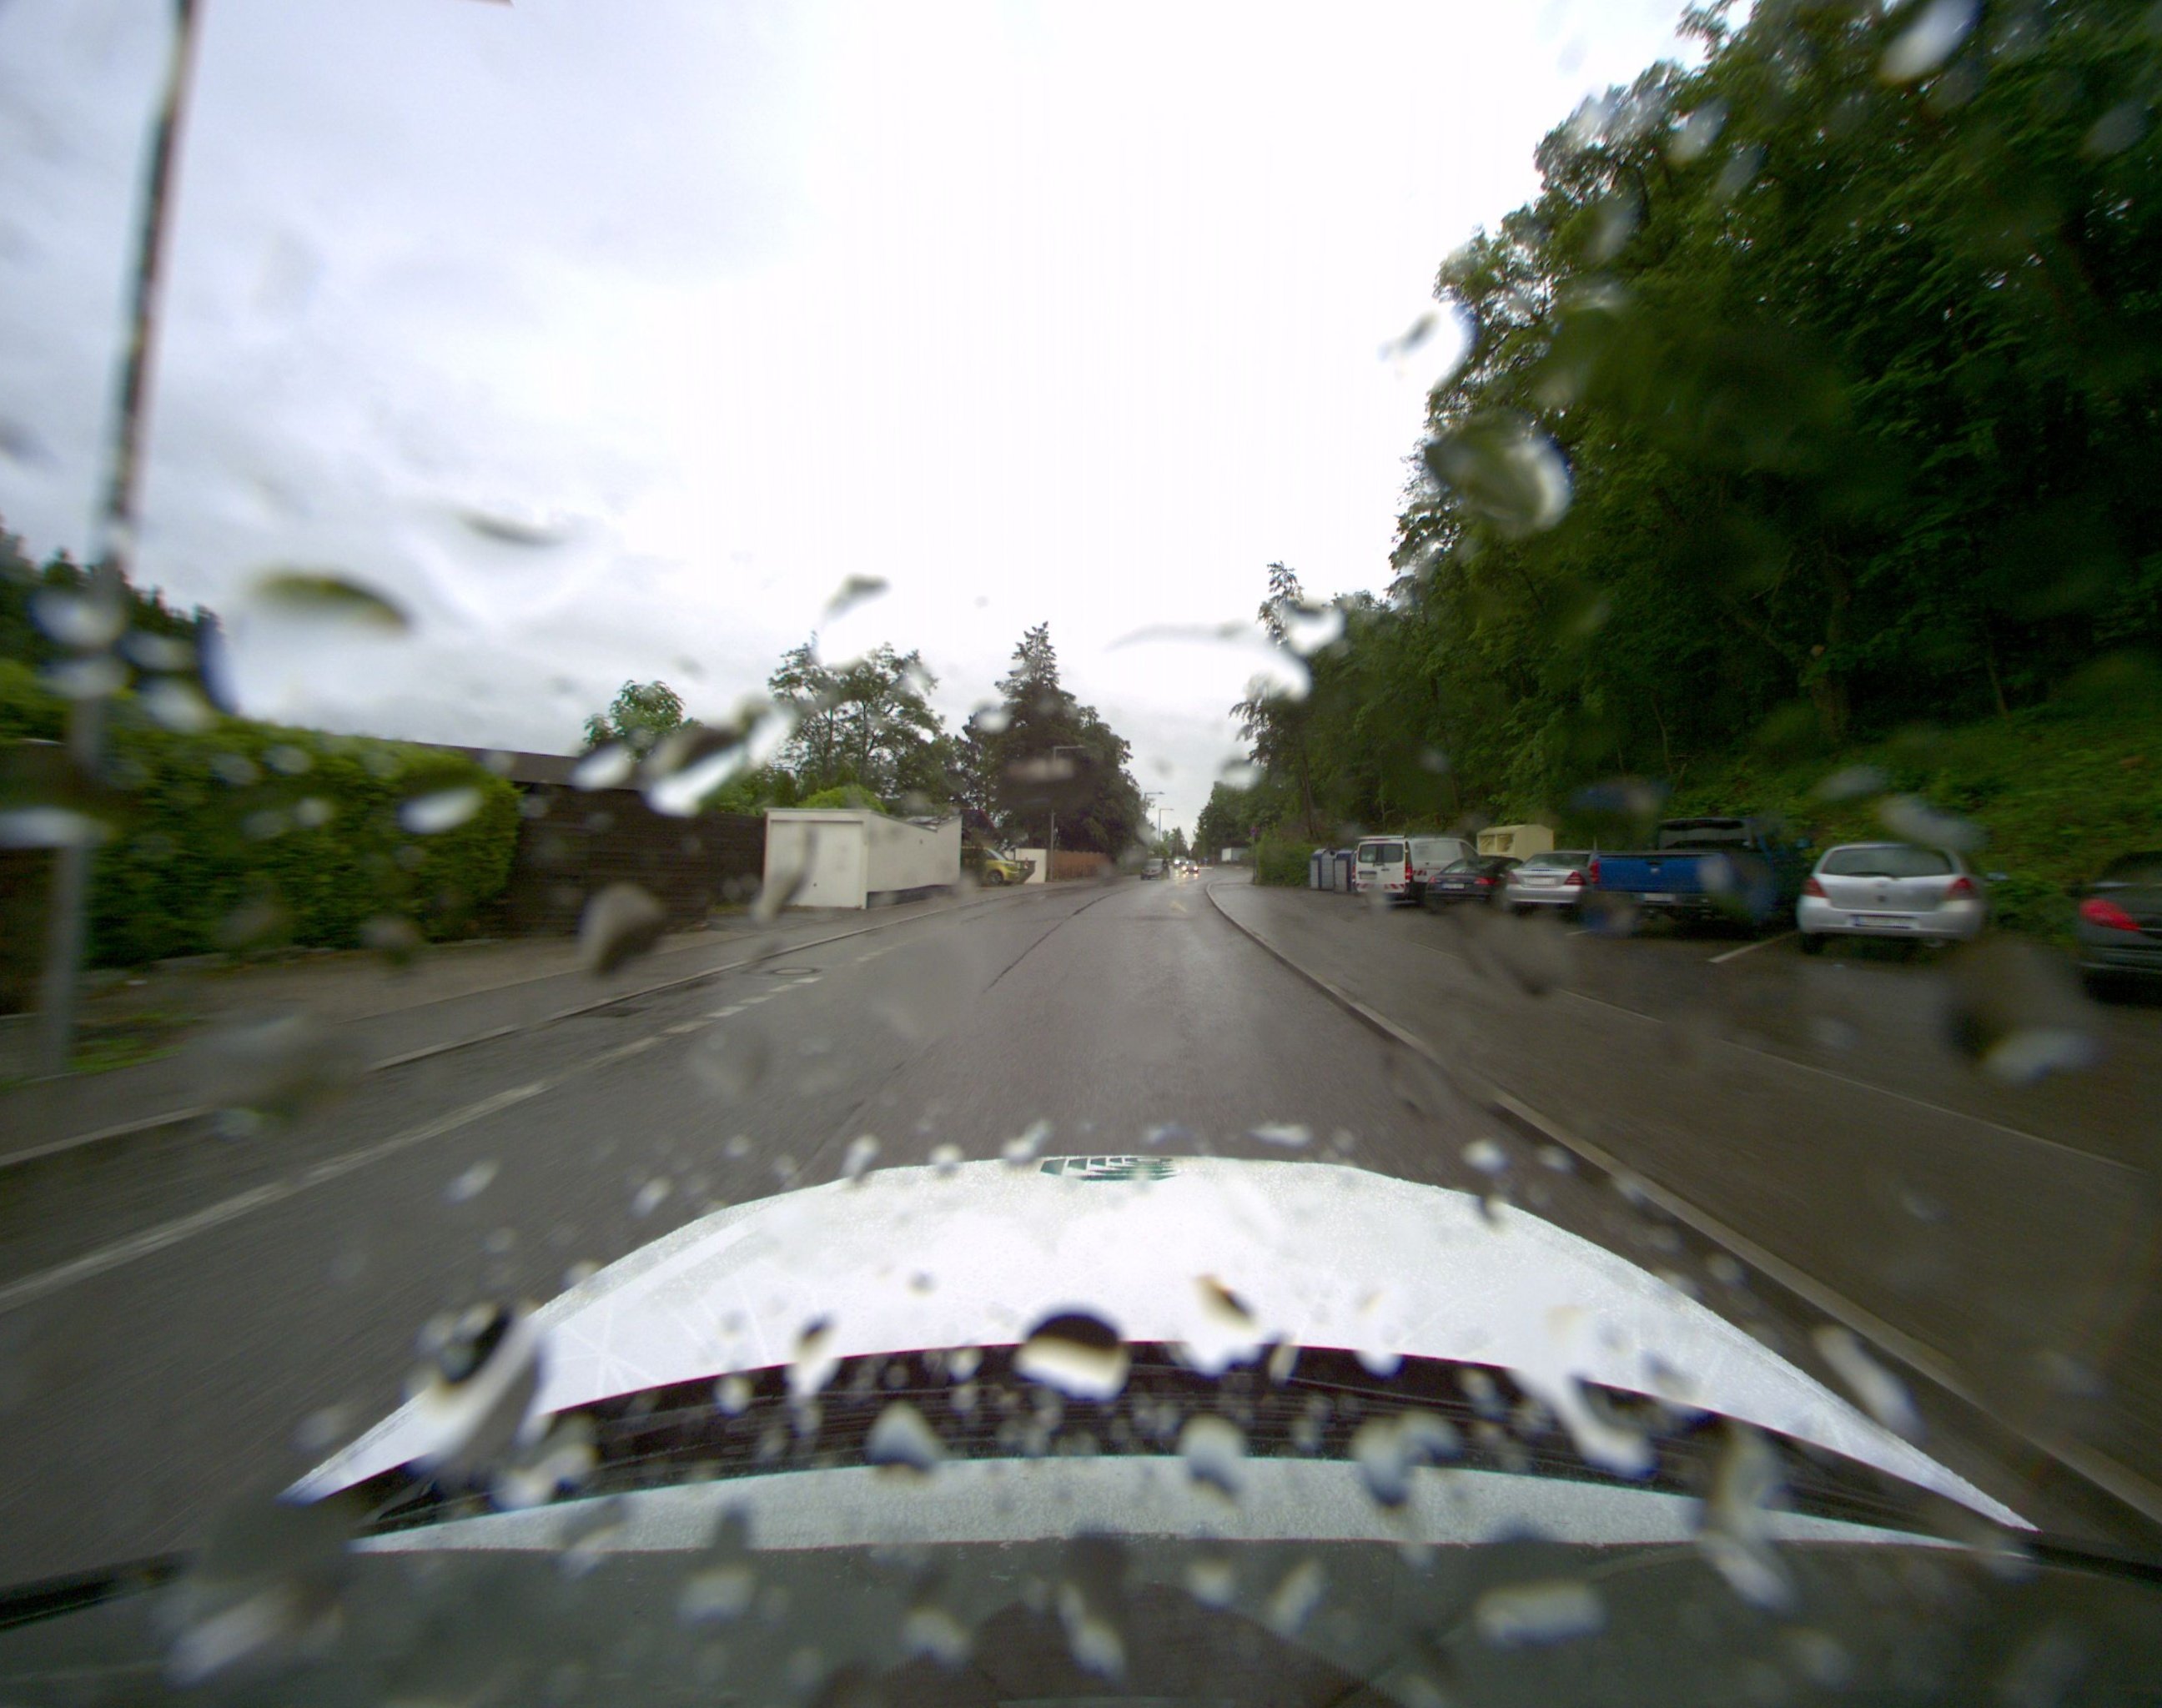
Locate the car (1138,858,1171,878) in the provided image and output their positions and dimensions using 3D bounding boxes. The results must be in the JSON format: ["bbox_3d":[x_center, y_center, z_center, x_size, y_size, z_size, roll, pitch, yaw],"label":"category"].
[{"bbox_3d":[5.679,1.062,62.228,1.821,1.511,4.634,0,-1,14],"label":"car"}]

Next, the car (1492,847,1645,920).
[{"bbox_3d":[10.632,0.572,17.648,4.014,1.413,1.607,0,0,-40],"label":"car"}]

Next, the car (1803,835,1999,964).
[{"bbox_3d":[11.411,0.522,11.257,3.933,1.486,1.600,0,0,-40],"label":"car"}]

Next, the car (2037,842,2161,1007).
[{"bbox_3d":[10.801,0.588,7.987,3.861,1.402,1.698,0,0,-38],"label":"car"}]

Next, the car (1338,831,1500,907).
[{"bbox_3d":[9.628,0.377,23.030,4.865,1.940,2.132,0,0,-38],"label":"car"}]

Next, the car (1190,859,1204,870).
[{"bbox_3d":[17.242,1.560,120.925,1.906,1.648,4.559,-1,-1,10],"label":"car"}]

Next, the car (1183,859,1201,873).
[{"bbox_3d":[12.340,1.300,90.447,1.822,1.511,4.181,0,-1,11],"label":"car"}]

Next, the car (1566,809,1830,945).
[{"bbox_3d":[11.006,0.297,14.363,5.507,1.969,2.305,-1,0,-37],"label":"car"}]

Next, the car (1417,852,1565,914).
[{"bbox_3d":[9.909,0.630,19.608,3.814,1.348,1.742,0,0,-38],"label":"car"}]

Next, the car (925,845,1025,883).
[{"bbox_3d":[-5.228,0.482,40.378,4.473,1.860,2.096,0,0,12],"label":"car"}]
